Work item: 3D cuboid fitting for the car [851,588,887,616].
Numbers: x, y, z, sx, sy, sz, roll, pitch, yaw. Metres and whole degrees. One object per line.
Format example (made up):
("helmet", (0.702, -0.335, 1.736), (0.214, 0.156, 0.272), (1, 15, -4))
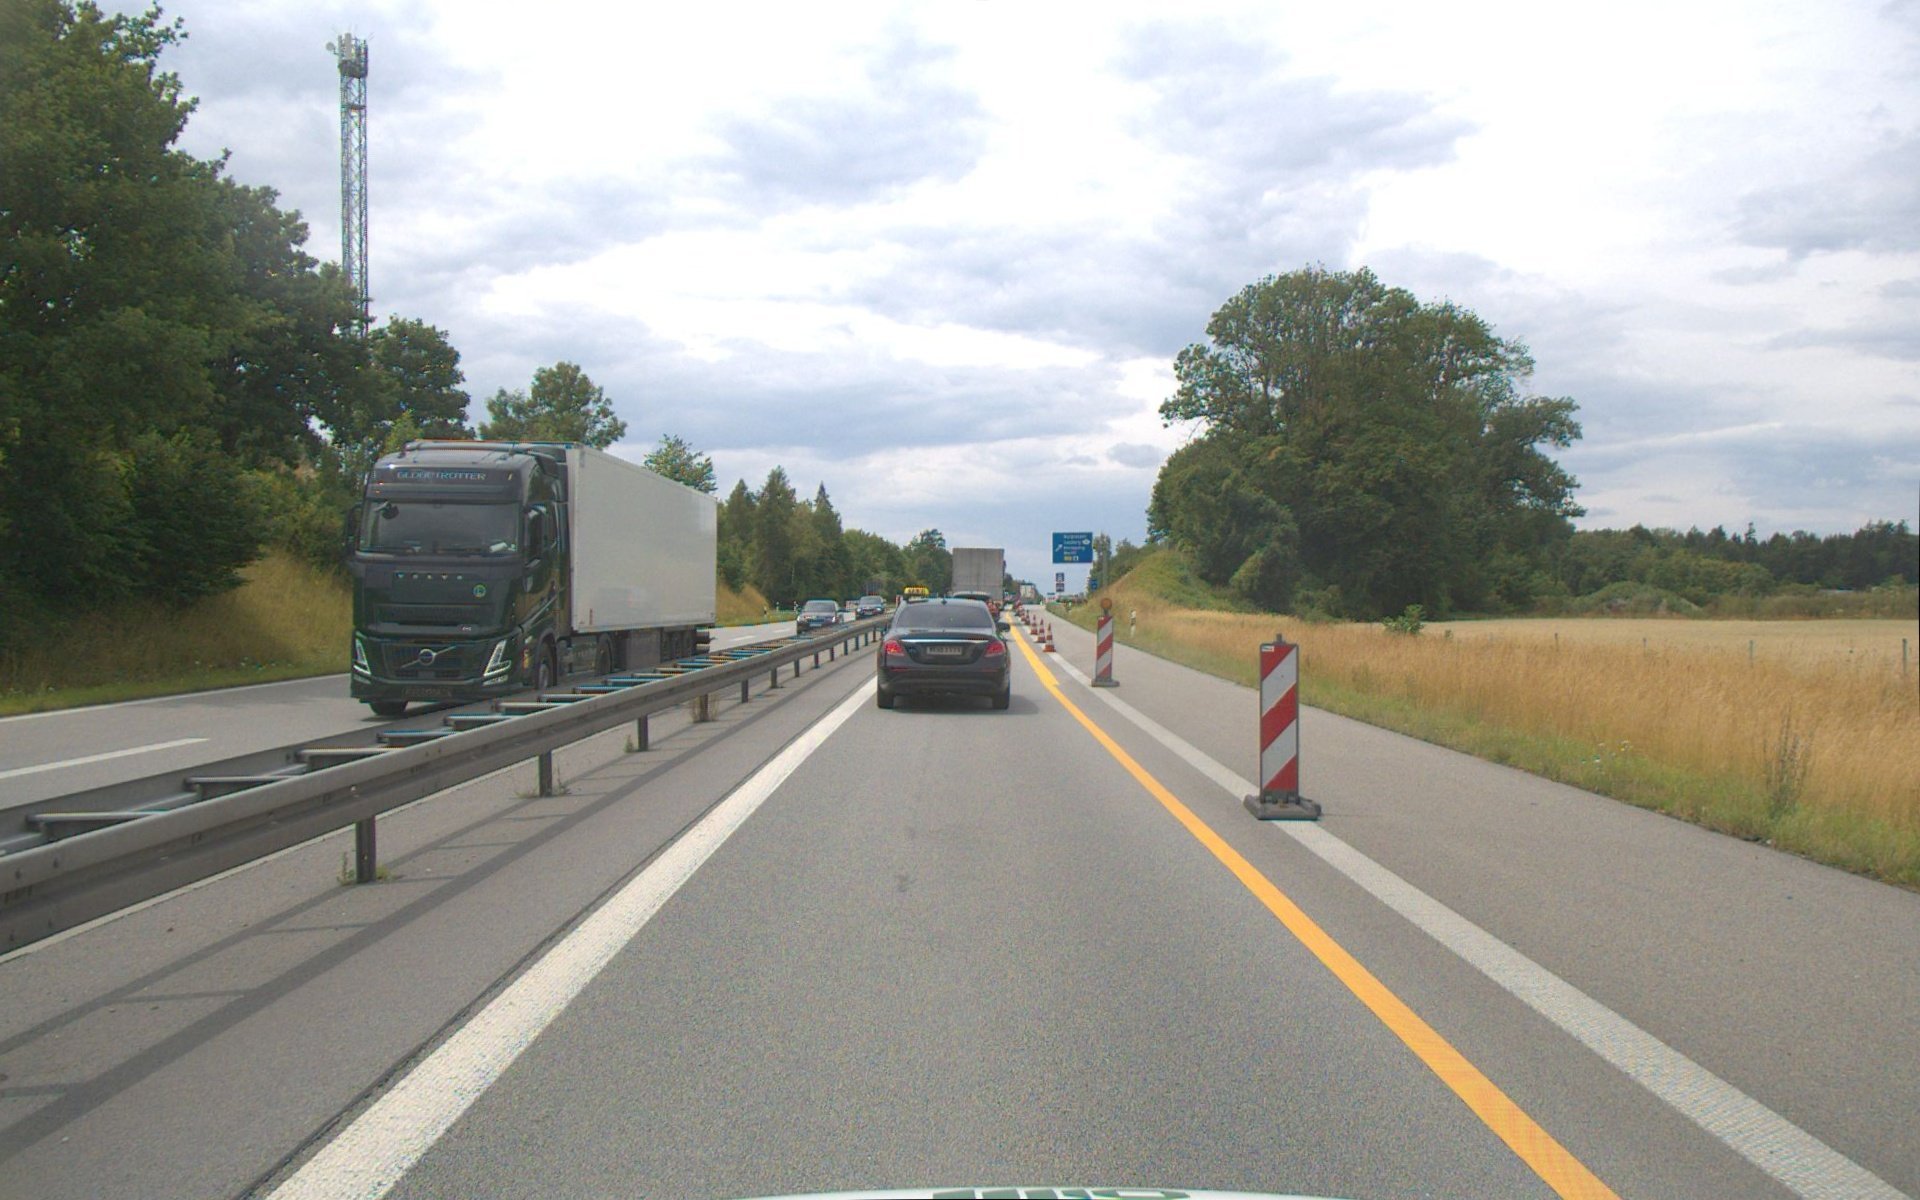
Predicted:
("car", (-5.613, 0.153, 102.427), (1.953, 1.646, 4.000), (1, -1, 0))

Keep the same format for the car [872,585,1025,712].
("car", (-0.066, 0.651, 23.178), (1.758, 1.587, 4.002), (1, -1, 5))

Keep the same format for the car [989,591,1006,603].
("car", (4.412, -0.358, 195.975), (1.617, 1.420, 3.701), (1, -1, -5))

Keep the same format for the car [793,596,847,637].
("car", (-5.948, 0.715, 70.688), (1.953, 1.646, 4.000), (1, -1, 0))

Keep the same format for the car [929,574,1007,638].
("car", (0.238, 0.201, 55.970), (1.957, 2.049, 3.990), (1, -1, -10))

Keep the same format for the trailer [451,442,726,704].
("trailer", (-6.952, -0.367, 33.254), (2.585, 4.243, 12.187), (1, -1, 1))

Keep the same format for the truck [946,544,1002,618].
("truck", (0.663, -0.911, 83.546), (2.535, 3.586, 4.810), (1, -1, -2))

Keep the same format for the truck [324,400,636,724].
("truck", (-7.032, -0.464, 25.372), (2.585, 4.243, 6.985), (1, -1, 0))
